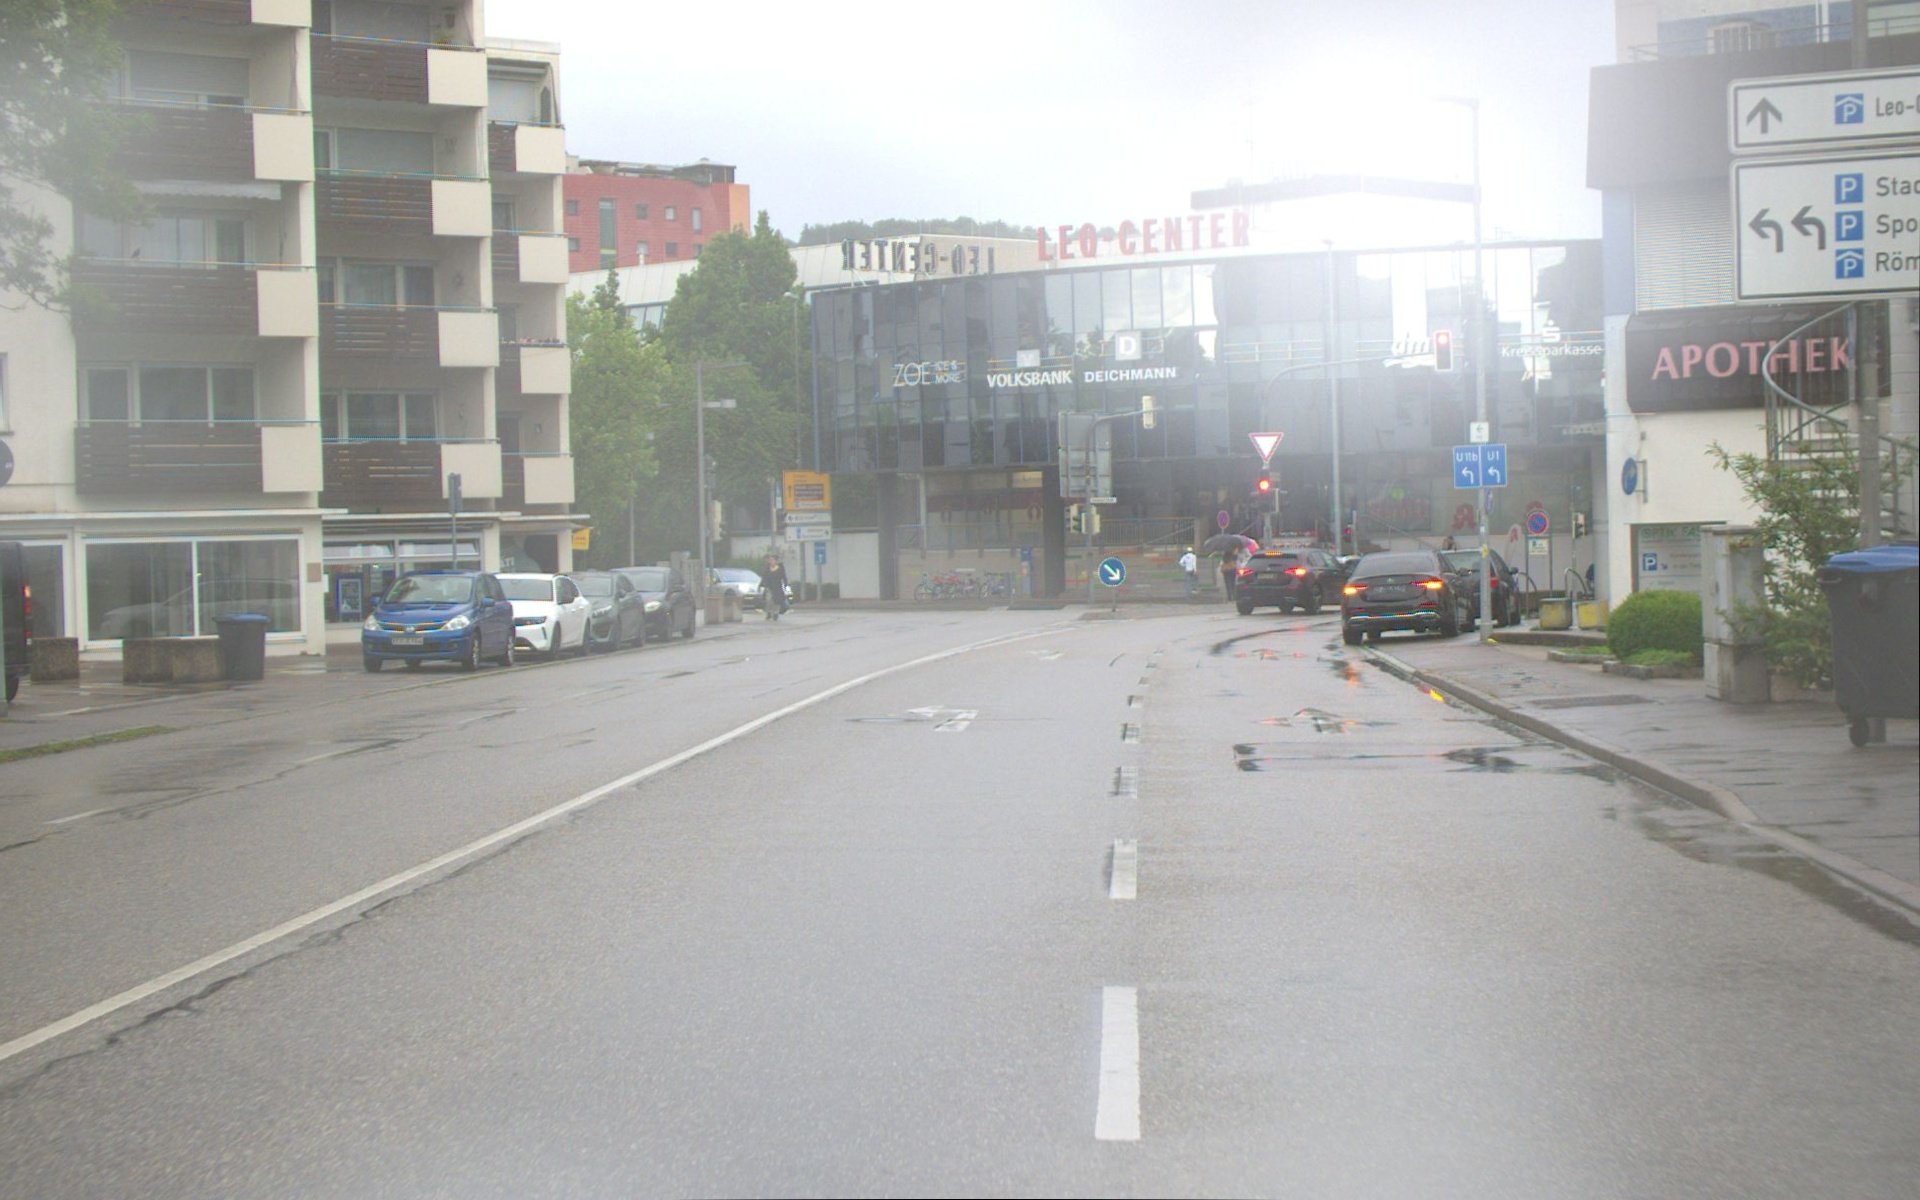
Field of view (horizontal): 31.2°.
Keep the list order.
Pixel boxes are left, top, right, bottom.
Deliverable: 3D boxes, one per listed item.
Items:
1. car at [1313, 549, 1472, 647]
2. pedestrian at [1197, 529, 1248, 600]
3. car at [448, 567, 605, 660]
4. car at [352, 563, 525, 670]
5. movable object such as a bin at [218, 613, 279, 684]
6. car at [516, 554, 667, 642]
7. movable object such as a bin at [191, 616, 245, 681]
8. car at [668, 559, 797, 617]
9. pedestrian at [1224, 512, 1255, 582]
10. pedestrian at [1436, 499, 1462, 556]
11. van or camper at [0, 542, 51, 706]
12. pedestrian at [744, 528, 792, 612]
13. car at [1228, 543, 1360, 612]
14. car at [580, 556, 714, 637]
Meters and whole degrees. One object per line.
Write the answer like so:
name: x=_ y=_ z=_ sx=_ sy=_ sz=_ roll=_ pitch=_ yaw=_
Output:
car: x=7.094 y=-0.015 z=56.005 sx=1.995 sy=1.528 sz=4.644 roll=0 pitch=0 yaw=14
pedestrian: x=6.300 y=-0.852 z=82.487 sx=0.908 sy=1.653 sz=0.755 roll=2 pitch=2 yaw=-23
car: x=-7.348 y=0.199 z=58.662 sx=1.693 sy=1.459 sz=4.683 roll=-1 pitch=1 yaw=5
car: x=-7.935 y=0.223 z=52.661 sx=1.652 sy=1.515 sz=4.324 roll=-1 pitch=1 yaw=5
movable object such as a bin: x=-10.072 y=0.683 z=48.692 sx=0.648 sy=0.962 sz=0.682 roll=-2 pitch=1 yaw=5
car: x=-6.787 y=-0.064 z=63.748 sx=1.935 sy=1.536 sz=4.520 roll=-1 pitch=1 yaw=5
movable object such as a bin: x=-10.631 y=0.690 z=49.268 sx=0.574 sy=0.900 sz=0.598 roll=-2 pitch=1 yaw=5
car: x=-6.968 y=-0.383 z=105.015 sx=1.993 sy=1.506 sz=4.434 roll=1 pitch=3 yaw=-32
pedestrian: x=6.781 y=-1.285 z=83.399 sx=0.609 sy=1.653 sz=0.672 roll=2 pitch=2 yaw=0
pedestrian: x=17.496 y=-2.579 z=122.990 sx=0.788 sy=2.007 sz=0.670 roll=-1 pitch=0 yaw=15
van or camper: x=-13.378 y=0.273 z=42.657 sx=1.994 sy=1.918 sz=5.216 roll=-3 pitch=3 yaw=-40
pedestrian: x=-4.717 y=-0.737 z=84.460 sx=0.749 sy=2.007 sz=0.920 roll=3 pitch=1 yaw=26
car: x=7.348 y=-0.504 z=75.399 sx=1.806 sy=1.414 sz=3.996 roll=-1 pitch=1 yaw=22
car: x=-6.270 y=-0.102 z=69.253 sx=1.935 sy=1.536 sz=4.272 roll=-1 pitch=1 yaw=5
